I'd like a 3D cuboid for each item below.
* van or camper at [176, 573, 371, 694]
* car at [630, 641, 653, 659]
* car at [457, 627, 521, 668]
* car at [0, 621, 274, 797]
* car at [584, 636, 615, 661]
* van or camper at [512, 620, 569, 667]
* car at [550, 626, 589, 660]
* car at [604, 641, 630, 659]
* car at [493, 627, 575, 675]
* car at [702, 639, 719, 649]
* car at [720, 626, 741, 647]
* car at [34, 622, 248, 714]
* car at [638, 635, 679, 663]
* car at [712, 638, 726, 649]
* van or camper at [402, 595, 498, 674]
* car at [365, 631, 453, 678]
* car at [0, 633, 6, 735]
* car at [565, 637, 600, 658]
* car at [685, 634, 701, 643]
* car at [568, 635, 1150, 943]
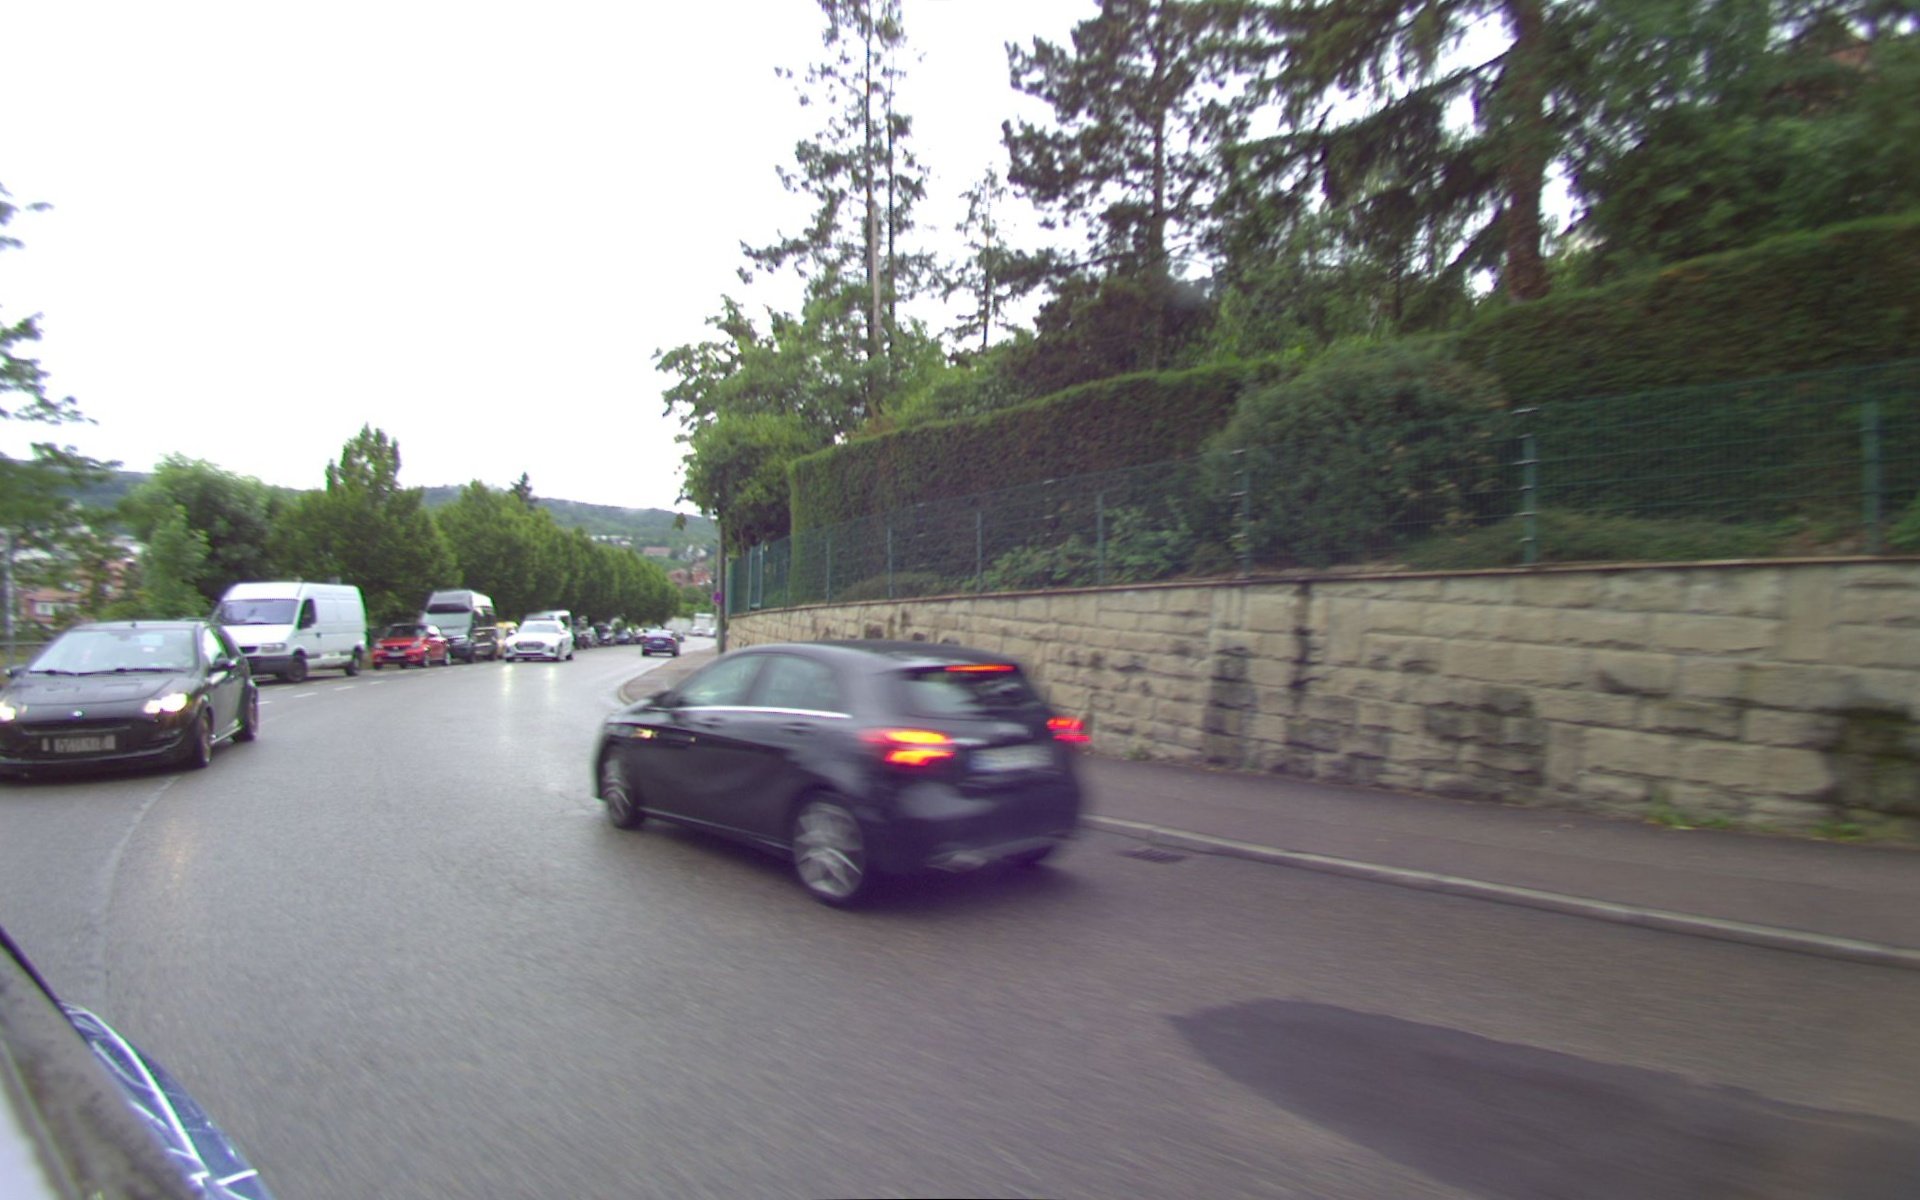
[{"bbox_3d":[-16.885,0.850,25.309,2.046,2.681,5.609,0,-2,-12],"label":"van or camper"},{"bbox_3d":[-31.740,4.995,101.030,1.698,1.641,4.412,-1,-2,-11],"label":"car"},{"bbox_3d":[-21.904,2.226,47.237,1.698,1.762,4.412,-1,-2,-11],"label":"car"},{"bbox_3d":[-8.793,1.003,10.790,1.754,1.497,4.420,1,-2,-25],"label":"car"},{"bbox_3d":[-28.482,3.853,80.011,1.698,1.869,4.412,-1,-2,-11],"label":"car"},{"bbox_3d":[-24.549,2.564,59.406,2.135,2.575,5.629,-1,-2,-13],"label":"van or camper"},{"bbox_3d":[-26.016,2.882,67.557,1.698,2.155,4.412,-1,-2,-11],"label":"car"},{"bbox_3d":[-30.615,4.489,90.421,1.698,1.515,4.210,-1,-2,-11],"label":"car"},{"bbox_3d":[-16.678,1.940,39.865,2.156,1.721,4.895,0,-1,-13],"label":"car"},{"bbox_3d":[-39.022,6.904,158.050,1.820,1.509,3.779,2,-3,-25],"label":"car"},{"bbox_3d":[-28.719,4.571,126.576,2.078,2.501,4.572,2,-3,-8],"label":"car"},{"bbox_3d":[-15.589,1.249,19.552,1.598,1.552,4.226,0,-2,-15],"label":"car"},{"bbox_3d":[-16.261,2.645,54.719,1.783,1.441,4.264,2,-3,-13],"label":"car"},{"bbox_3d":[-36.051,6.468,151.417,1.820,1.509,3.779,0,-2,-18],"label":"car"},{"bbox_3d":[-20.423,1.427,40.828,2.096,2.932,5.741,-1,-2,-12],"label":"van or camper"},{"bbox_3d":[-19.056,1.872,35.156,1.659,1.552,3.842,0,-3,-13],"label":"car"},{"bbox_3d":[-13.743,1.142,12.360,1.671,1.455,3.960,-2,-2,-21],"label":"car"},{"bbox_3d":[-27.934,3.490,74.980,1.698,1.446,4.335,-1,-2,-11],"label":"car"},{"bbox_3d":[-44.573,6.413,168.910,1.820,1.509,3.779,1,-2,-25],"label":"car"},{"bbox_3d":[-0.924,0.975,6.890,1.766,1.445,4.117,3,-4,-44],"label":"car"}]
